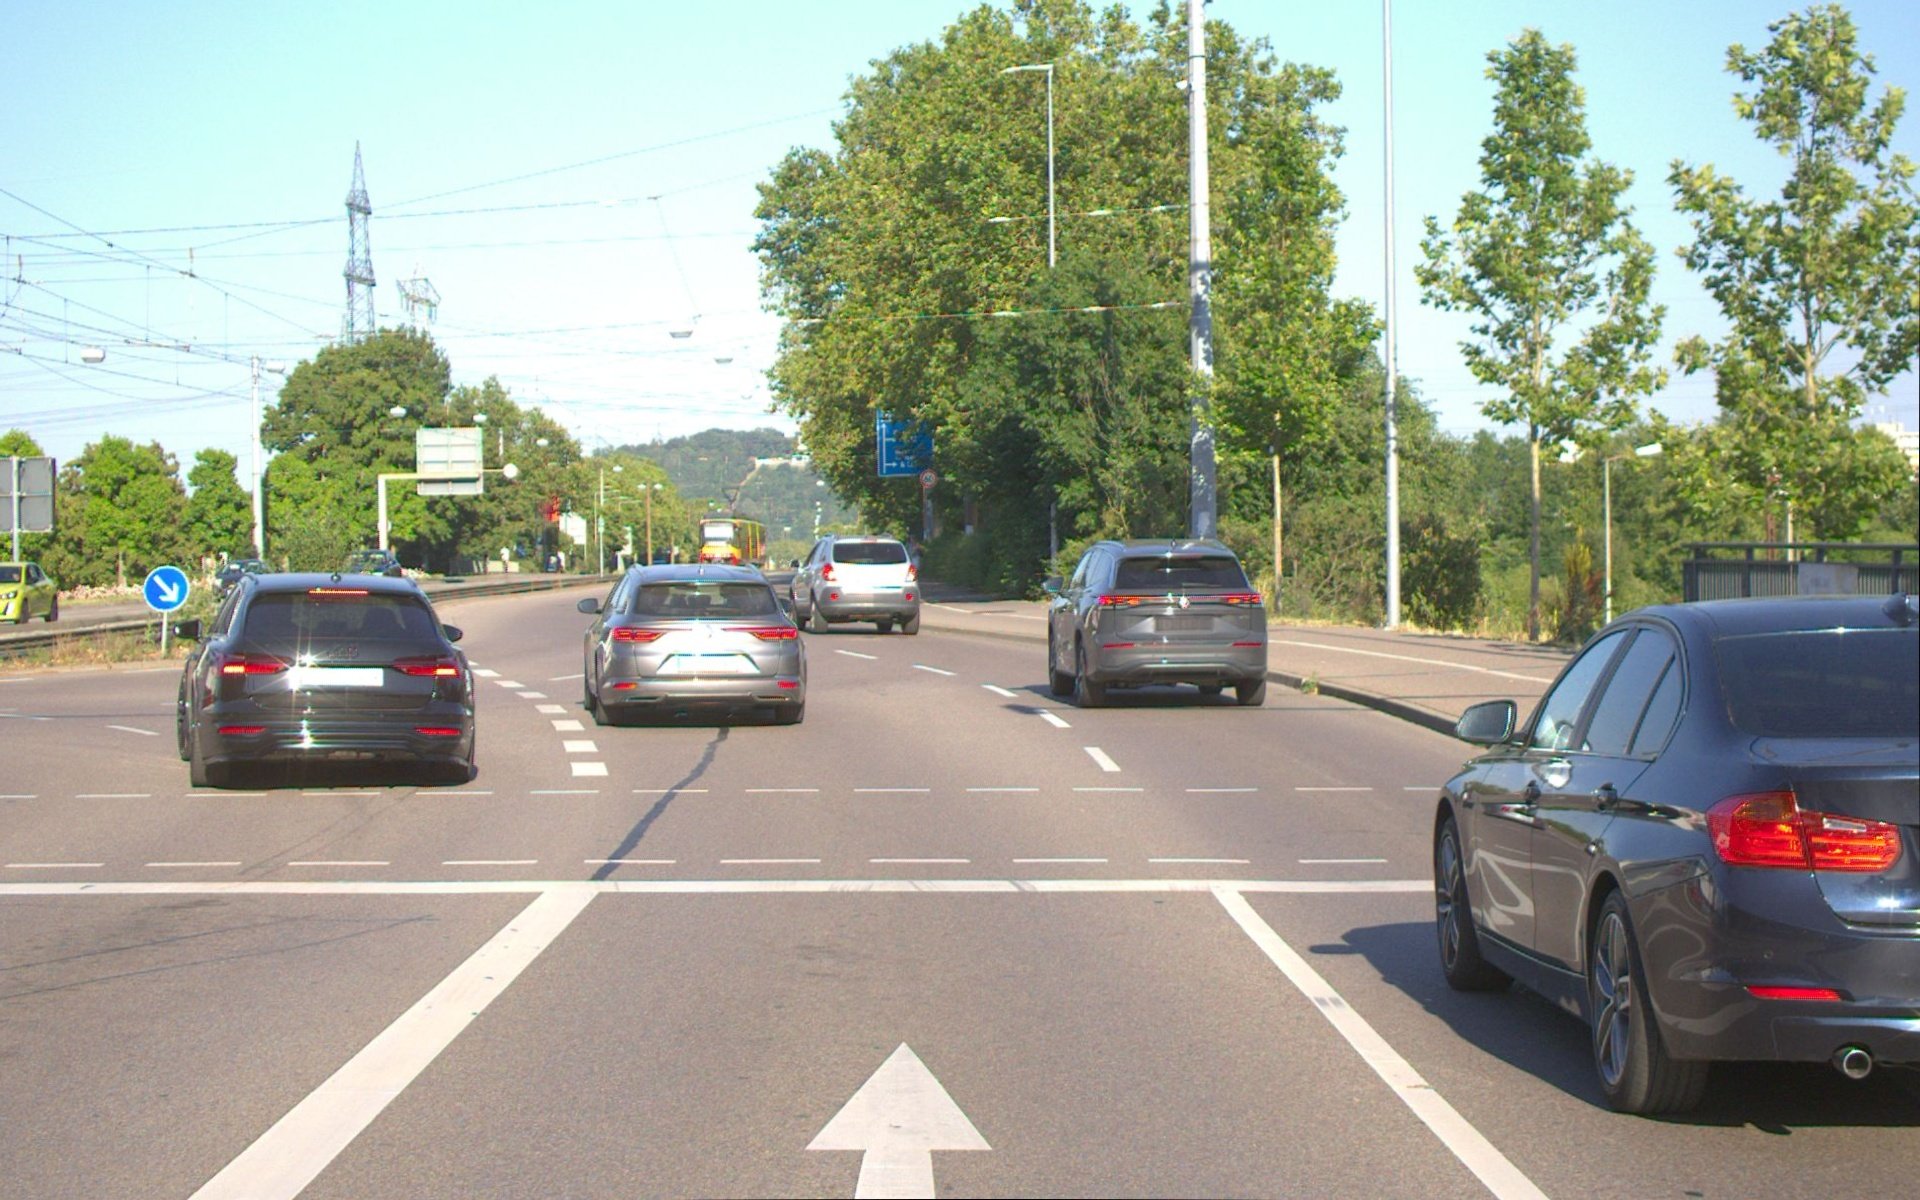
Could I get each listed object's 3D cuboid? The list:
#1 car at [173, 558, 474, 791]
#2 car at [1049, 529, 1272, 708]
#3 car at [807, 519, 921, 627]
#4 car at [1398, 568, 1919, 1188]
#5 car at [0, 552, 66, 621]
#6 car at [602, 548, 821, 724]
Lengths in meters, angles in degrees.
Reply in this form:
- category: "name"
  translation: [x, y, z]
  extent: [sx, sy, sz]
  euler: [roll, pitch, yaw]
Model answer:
- category: "car"
  translation: [-4.486, 0.454, 24.247]
  extent: [1.914, 1.453, 4.092]
  euler: [0, 1, -11]
- category: "car"
  translation: [1.948, 0.128, 34.710]
  extent: [1.844, 1.655, 4.440]
  euler: [0, 1, -2]
- category: "car"
  translation: [-1.691, -0.503, 60.123]
  extent: [1.883, 1.789, 4.001]
  euler: [1, 1, -2]
- category: "car"
  translation: [2.611, 0.653, 10.621]
  extent: [1.866, 1.462, 4.586]
  euler: [0, 1, -1]
- category: "car"
  translation: [-21.465, -0.295, 77.014]
  extent: [1.783, 1.442, 4.108]
  euler: [-2, 1, 0]
- category: "car"
  translation: [-2.352, 0.279, 31.929]
  extent: [1.865, 1.462, 4.667]
  euler: [1, 1, -5]
